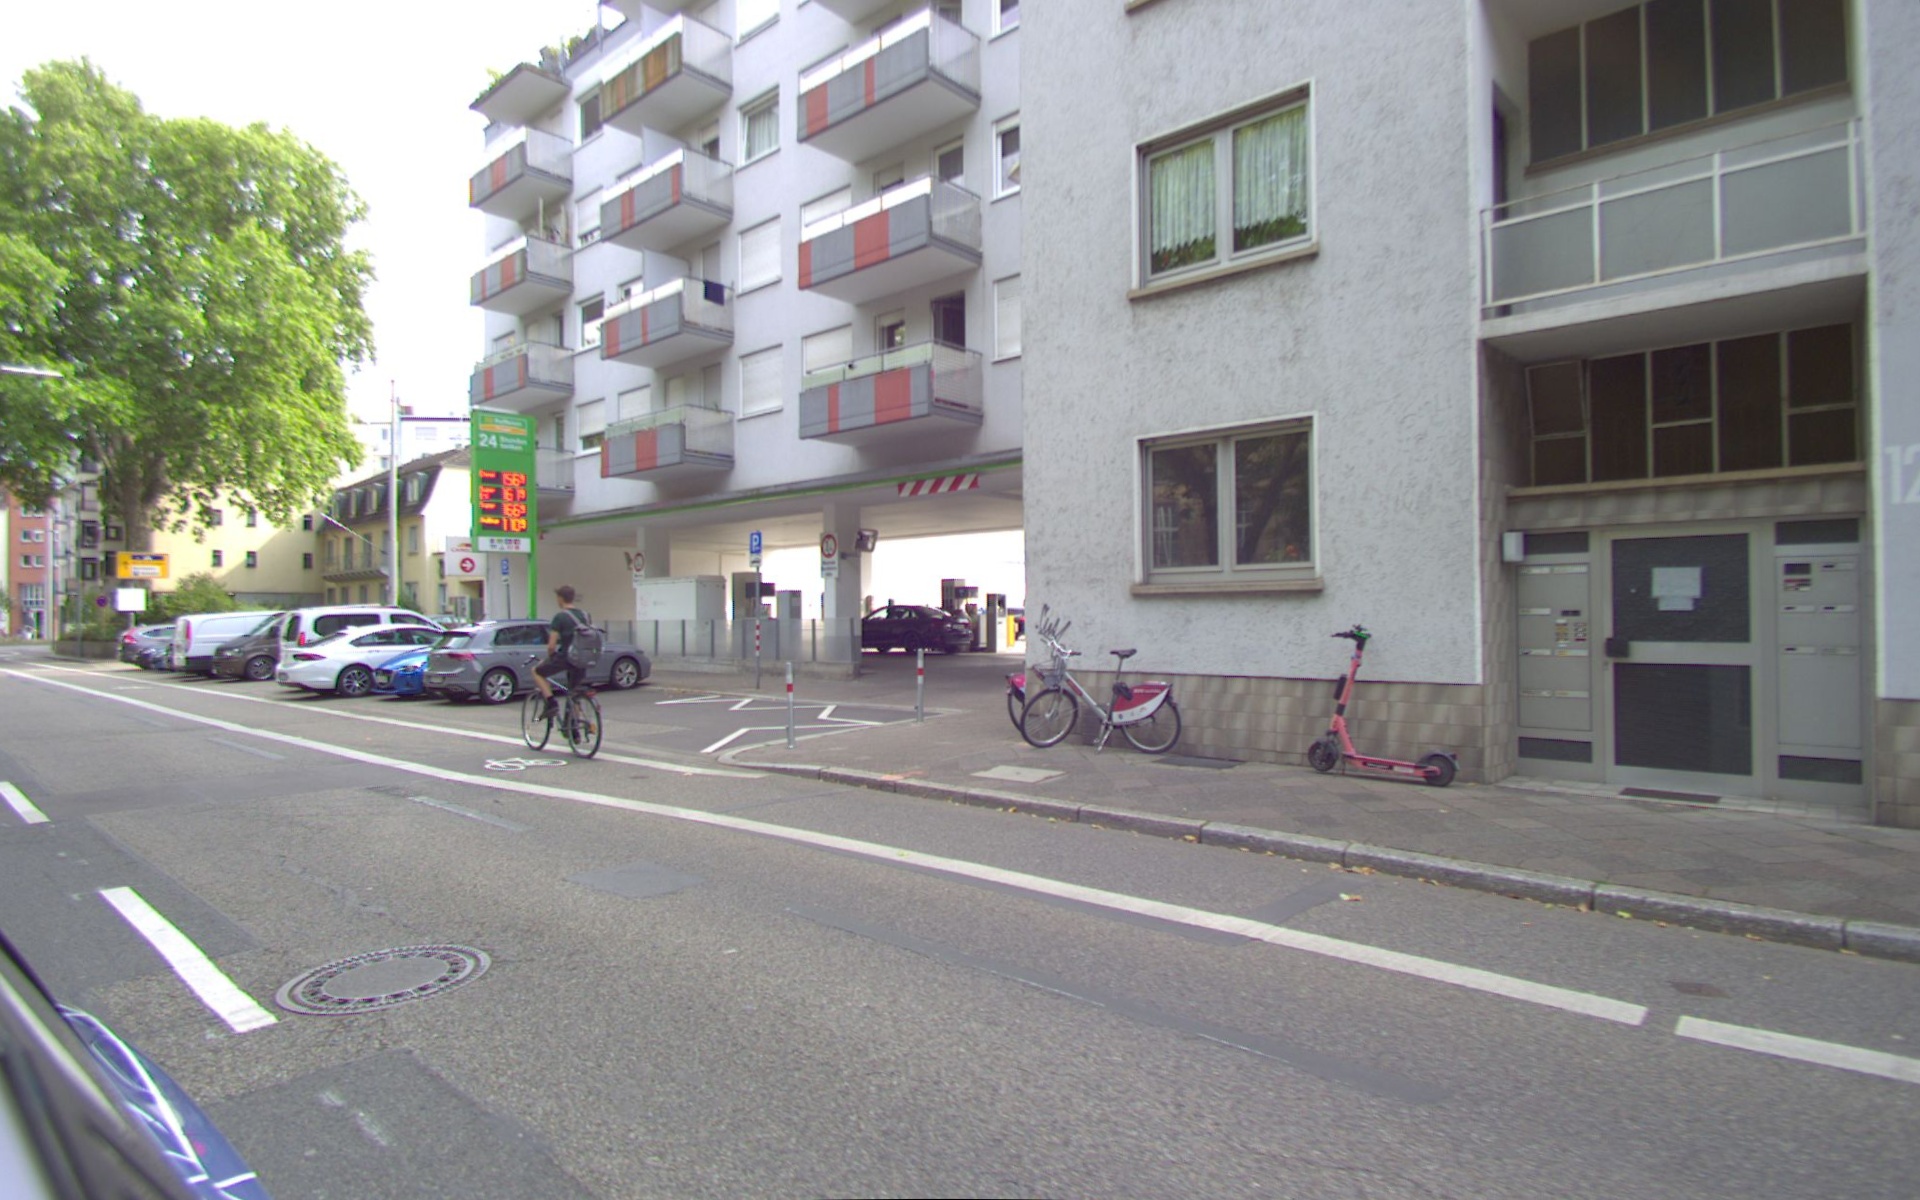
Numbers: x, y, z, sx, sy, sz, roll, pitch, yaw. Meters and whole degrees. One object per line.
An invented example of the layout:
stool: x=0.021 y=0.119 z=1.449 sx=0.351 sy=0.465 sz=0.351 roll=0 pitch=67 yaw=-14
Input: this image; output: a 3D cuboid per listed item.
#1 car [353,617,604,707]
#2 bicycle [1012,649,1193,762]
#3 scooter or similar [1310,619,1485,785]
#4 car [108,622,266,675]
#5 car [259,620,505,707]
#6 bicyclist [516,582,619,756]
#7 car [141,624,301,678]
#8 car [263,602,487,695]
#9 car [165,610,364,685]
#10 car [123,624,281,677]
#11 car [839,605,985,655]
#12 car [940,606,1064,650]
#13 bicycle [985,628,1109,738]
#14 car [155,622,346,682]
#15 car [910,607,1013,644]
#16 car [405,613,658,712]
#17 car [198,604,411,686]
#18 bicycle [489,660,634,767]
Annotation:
car: x=-9.852 y=1.198 z=20.934 sx=1.910 sy=1.462 sz=4.255 roll=-2 pitch=1 yaw=42
bicycle: x=1.340 y=0.969 z=9.745 sx=1.662 sy=0.957 sz=0.590 roll=-2 pitch=-1 yaw=42
scooter or similar: x=3.468 y=0.776 z=8.075 sx=1.201 sy=1.231 sz=0.346 roll=-2 pitch=-1 yaw=42
car: x=-29.031 y=1.783 z=38.121 sx=1.754 sy=1.618 sz=4.470 roll=-2 pitch=1 yaw=42
car: x=-12.375 y=1.287 z=21.869 sx=1.873 sy=1.462 sz=4.226 roll=-2 pitch=1 yaw=42
bicyclist: x=-4.363 y=0.727 z=11.236 sx=1.045 sy=1.824 sz=0.645 roll=-1 pitch=0 yaw=42
car: x=-25.654 y=1.728 z=35.235 sx=1.719 sy=1.522 sz=4.220 roll=-2 pitch=1 yaw=42
car: x=-13.834 y=1.075 z=24.103 sx=1.924 sy=1.861 sz=4.167 roll=-2 pitch=1 yaw=42
car: x=-20.744 y=1.358 z=30.338 sx=1.950 sy=1.873 sz=4.567 roll=-2 pitch=1 yaw=43
car: x=-27.312 y=1.770 z=36.572 sx=1.732 sy=1.560 sz=4.315 roll=-2 pitch=1 yaw=42
car: x=-1.413 y=0.845 z=28.871 sx=3.998 sy=1.308 sz=1.888 roll=-2 pitch=-1 yaw=41
car: x=1.502 y=1.030 z=37.125 sx=4.366 sy=1.533 sz=1.820 roll=-2 pitch=-1 yaw=42
bicycle: x=1.041 y=0.920 z=11.734 sx=0.453 sy=1.126 sz=1.753 roll=-2 pitch=-1 yaw=41
car: x=-22.414 y=1.586 z=32.121 sx=1.874 sy=1.480 sz=4.655 roll=-2 pitch=1 yaw=42
car: x=0.041 y=1.113 z=44.079 sx=4.366 sy=1.533 sz=1.820 roll=-2 pitch=-1 yaw=42
car: x=-8.219 y=1.120 z=19.672 sx=1.837 sy=1.525 sz=4.107 roll=-2 pitch=1 yaw=42
car: x=-18.659 y=1.204 z=28.981 sx=1.993 sy=1.948 sz=4.716 roll=-2 pitch=1 yaw=43
bicycle: x=-4.510 y=1.224 z=11.374 sx=2.076 sy=1.022 sz=0.639 roll=-1 pitch=0 yaw=42
